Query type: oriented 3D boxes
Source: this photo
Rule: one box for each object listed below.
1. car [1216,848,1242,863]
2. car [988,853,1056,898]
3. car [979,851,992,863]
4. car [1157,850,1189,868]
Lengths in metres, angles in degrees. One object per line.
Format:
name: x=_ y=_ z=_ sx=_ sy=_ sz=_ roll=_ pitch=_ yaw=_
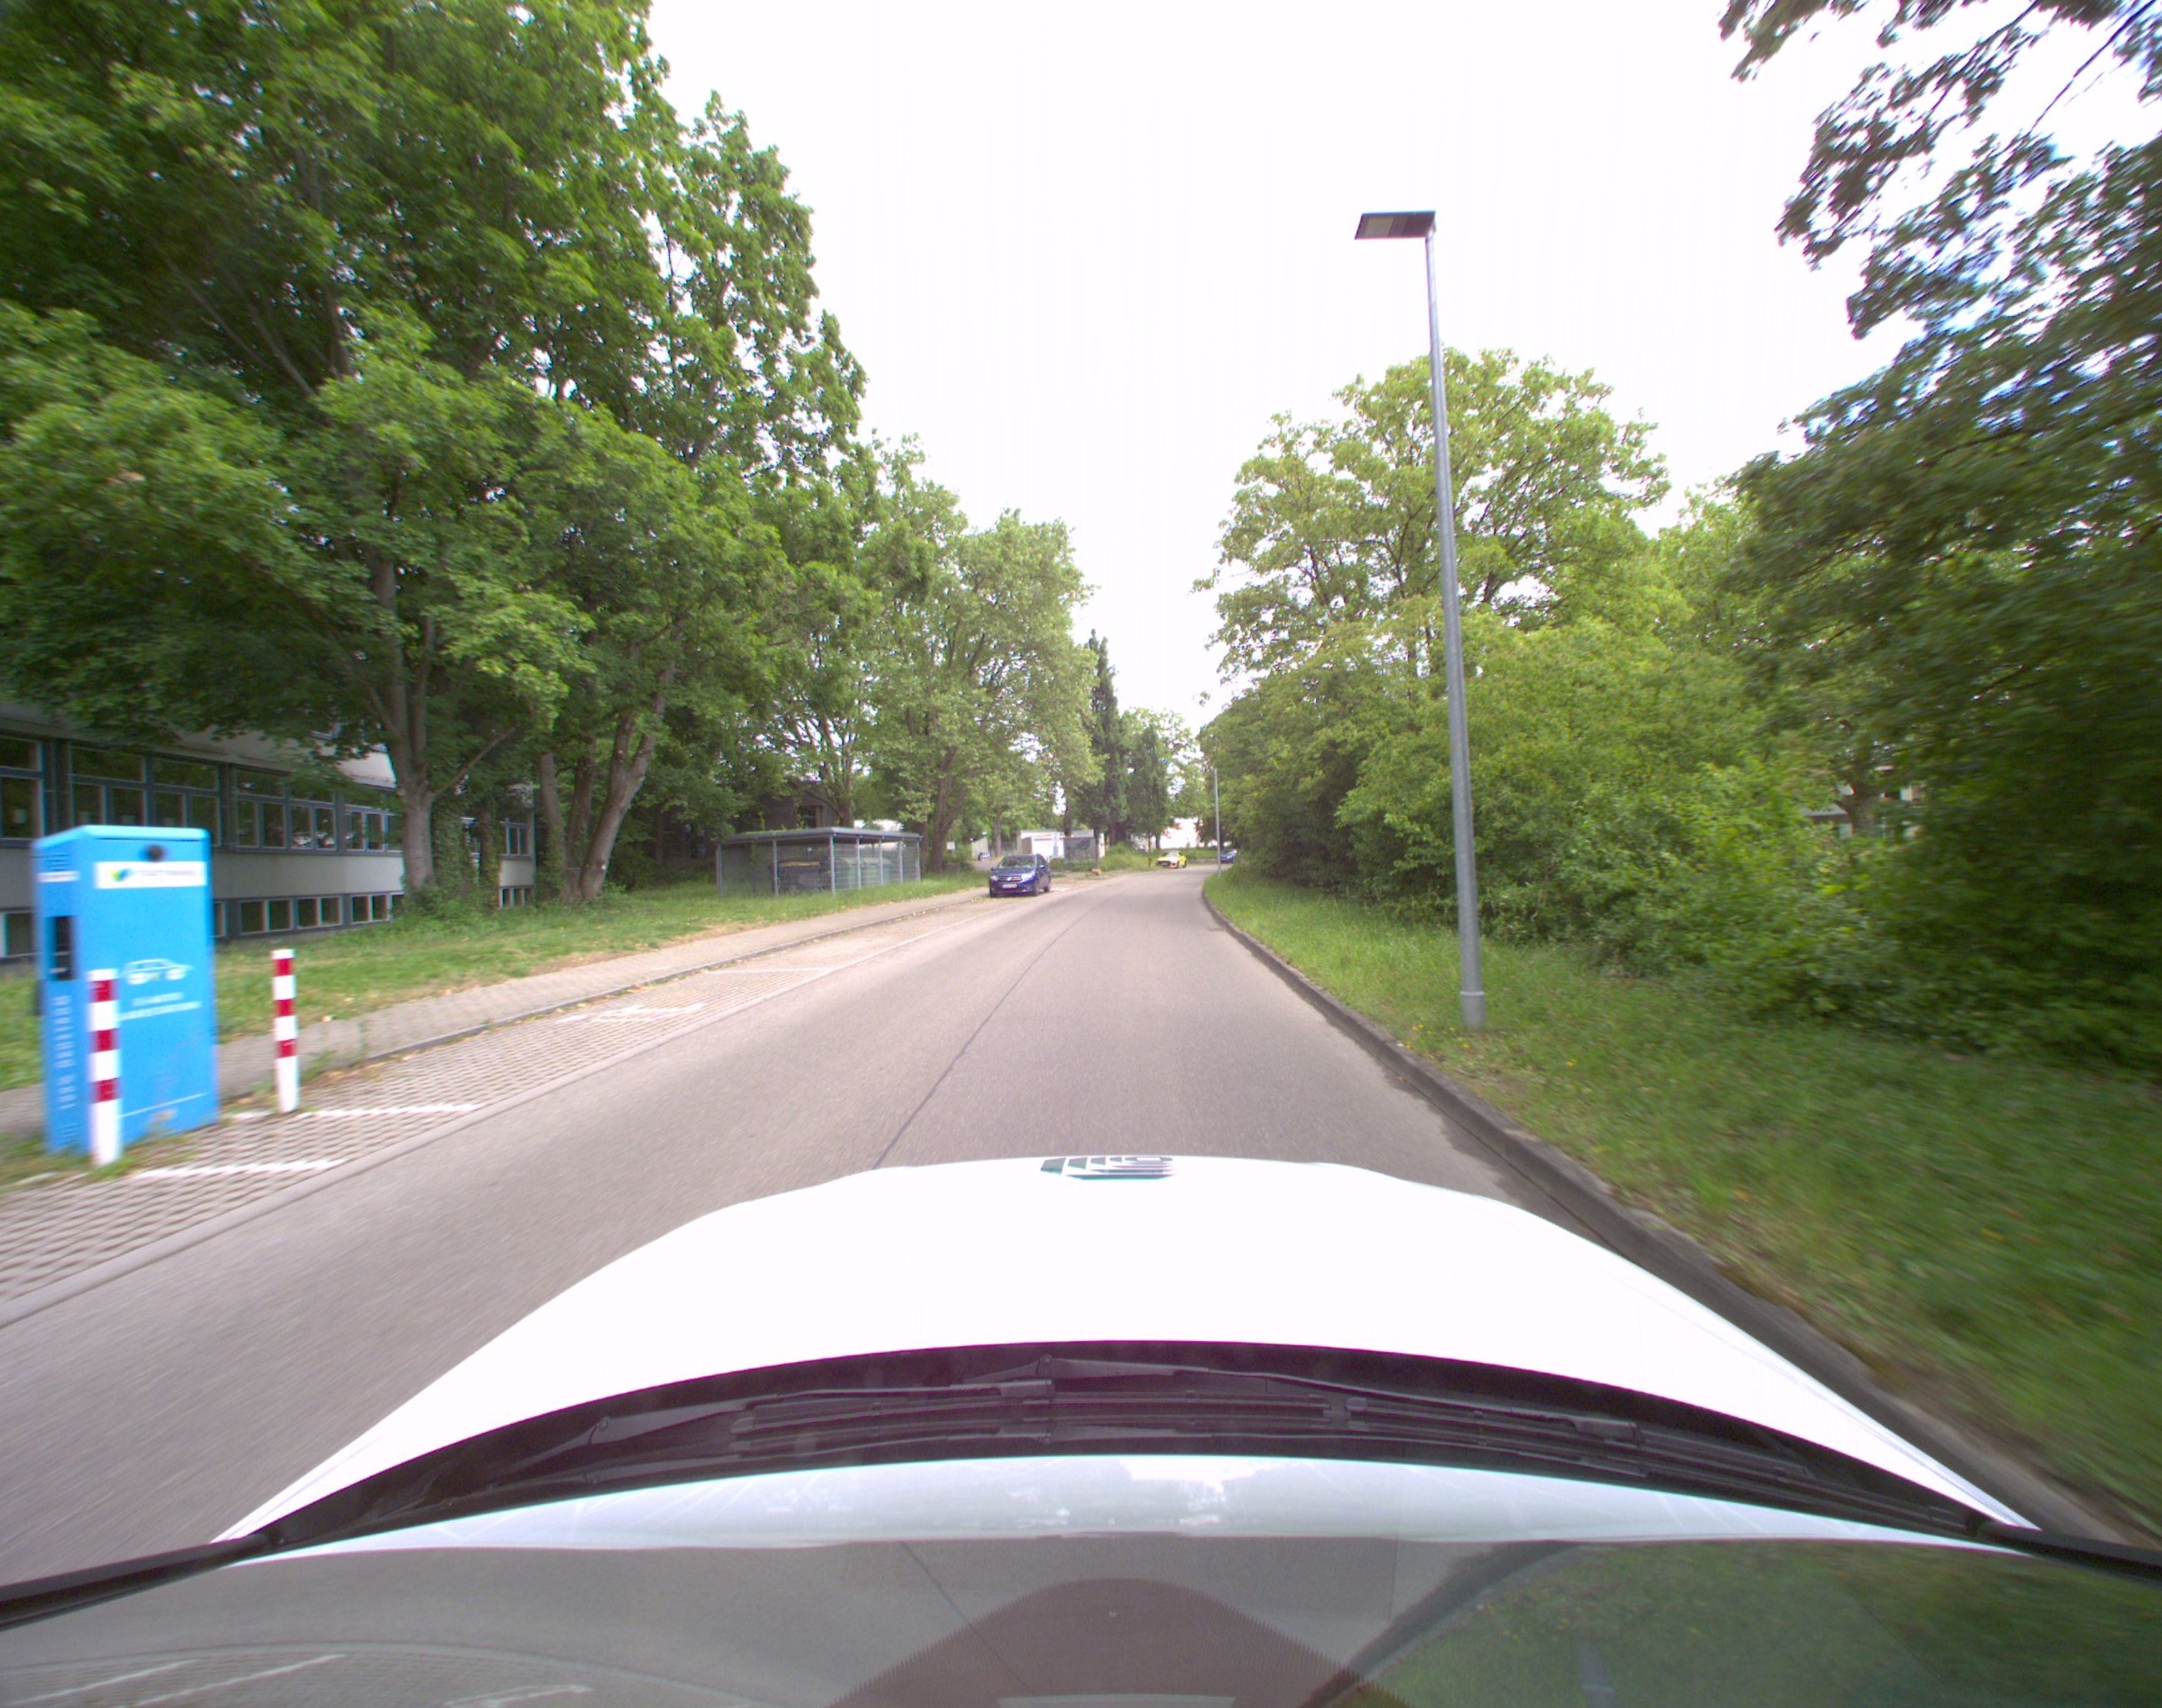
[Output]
car: x=15.231 y=0.178 z=83.687 sx=1.519 sy=1.459 sz=3.743 roll=-2 pitch=0 yaw=28
car: x=-2.112 y=0.732 z=30.361 sx=1.671 sy=1.511 sz=4.440 roll=-2 pitch=0 yaw=7
car: x=-14.922 y=0.419 z=127.441 sx=1.869 sy=1.746 sz=3.993 roll=-3 pitch=0 yaw=-5
car: x=7.686 y=0.411 z=67.589 sx=1.686 sy=1.403 sz=4.295 roll=-1 pitch=0 yaw=20
